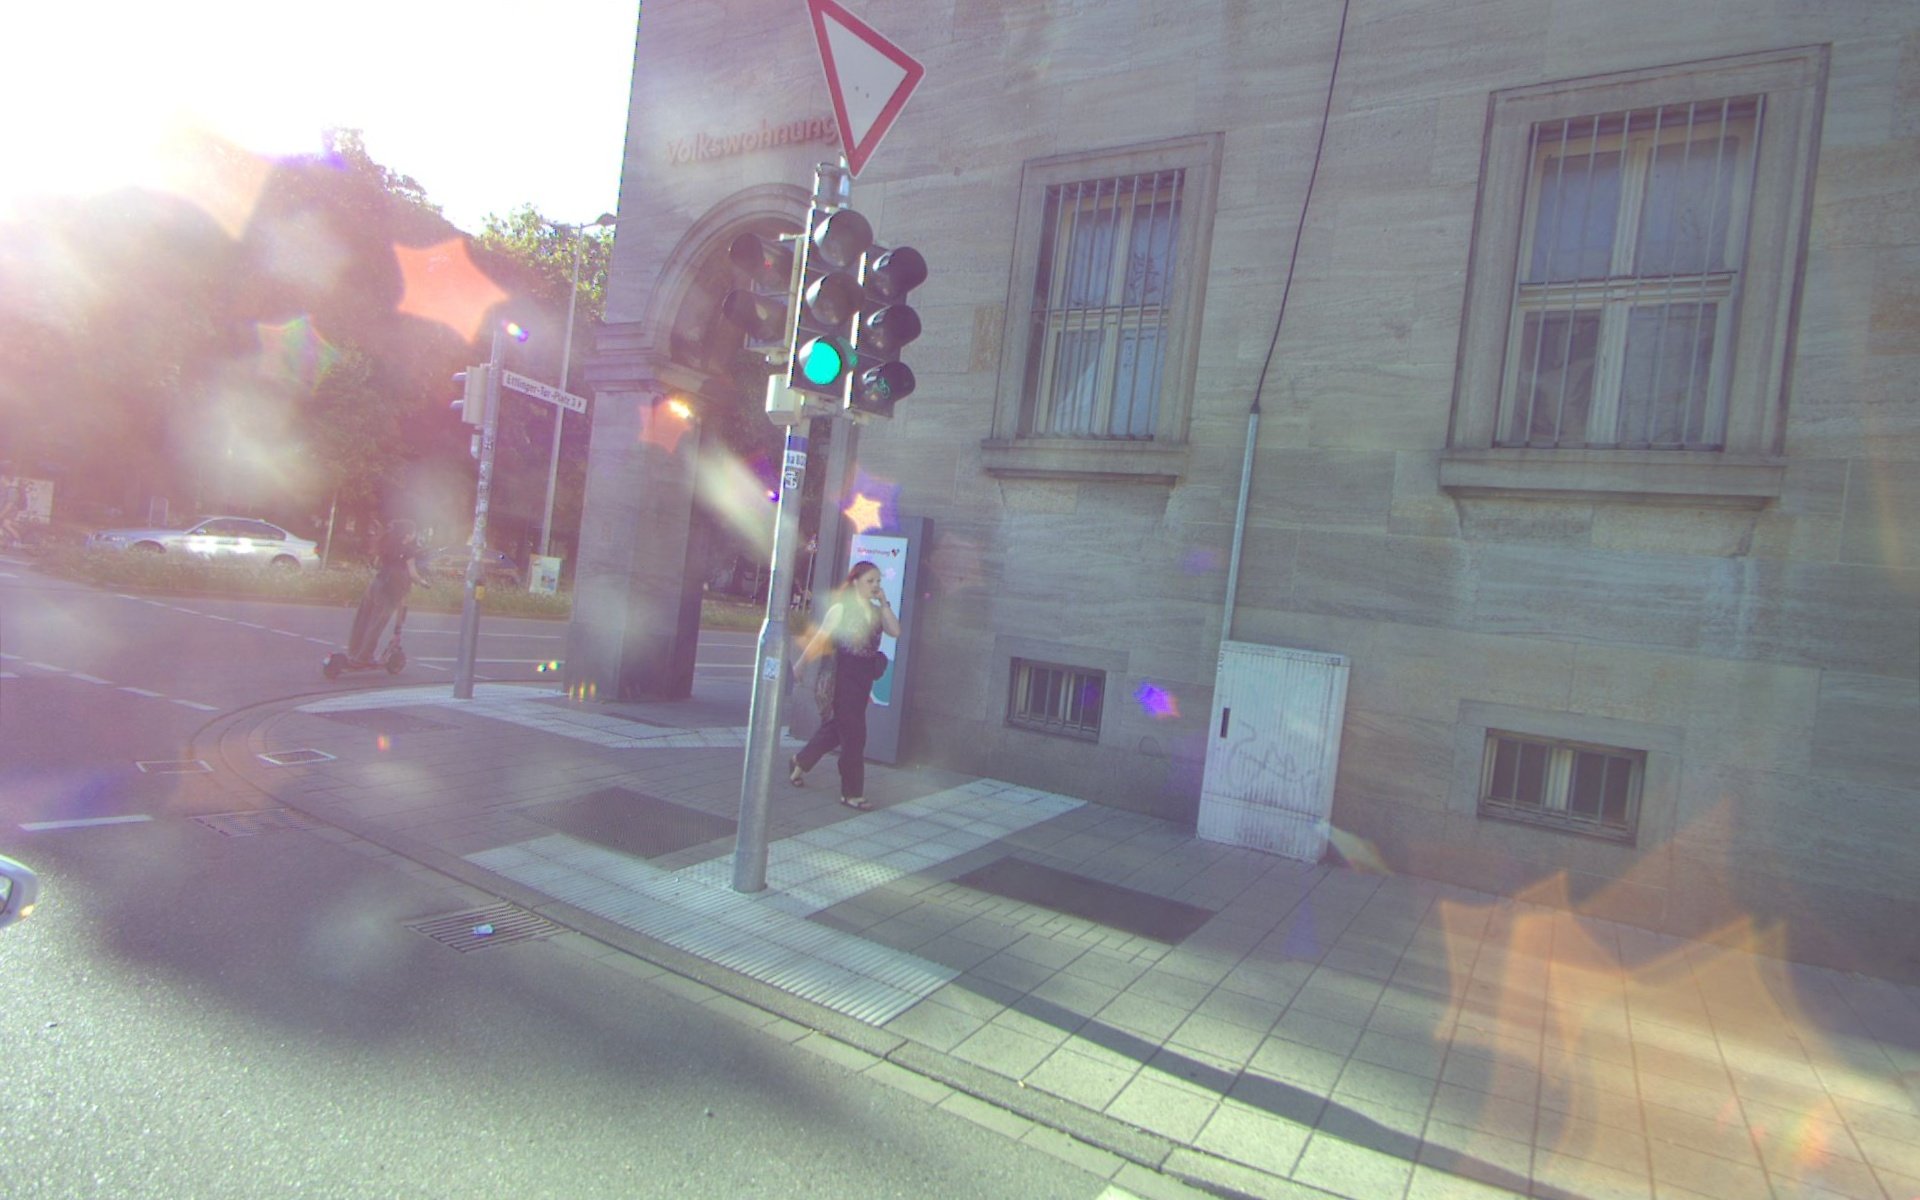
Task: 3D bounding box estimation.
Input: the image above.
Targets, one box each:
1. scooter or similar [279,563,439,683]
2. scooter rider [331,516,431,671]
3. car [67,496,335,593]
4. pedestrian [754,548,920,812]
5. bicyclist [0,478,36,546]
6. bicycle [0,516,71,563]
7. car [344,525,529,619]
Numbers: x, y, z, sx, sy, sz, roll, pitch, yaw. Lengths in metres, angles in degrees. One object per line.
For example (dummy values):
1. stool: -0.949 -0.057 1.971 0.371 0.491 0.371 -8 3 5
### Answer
1. scooter or similar: -6.446 0.266 10.832 0.565 1.164 1.269 8 1 32
2. scooter rider: -6.243 -0.060 10.857 0.536 1.581 0.577 7 0 13
3. car: -17.846 -1.246 23.892 1.967 1.534 4.585 6 -2 32
4. pedestrian: -0.836 0.510 6.846 0.799 1.629 0.596 7 4 31
5. bicyclist: -21.660 -2.014 22.869 0.692 1.422 0.746 6 -1 38
6. bicycle: -21.680 -1.439 22.939 0.707 0.900 1.943 6 -2 38
7. car: -14.643 -0.728 28.343 1.968 2.037 3.993 6 -2 33
